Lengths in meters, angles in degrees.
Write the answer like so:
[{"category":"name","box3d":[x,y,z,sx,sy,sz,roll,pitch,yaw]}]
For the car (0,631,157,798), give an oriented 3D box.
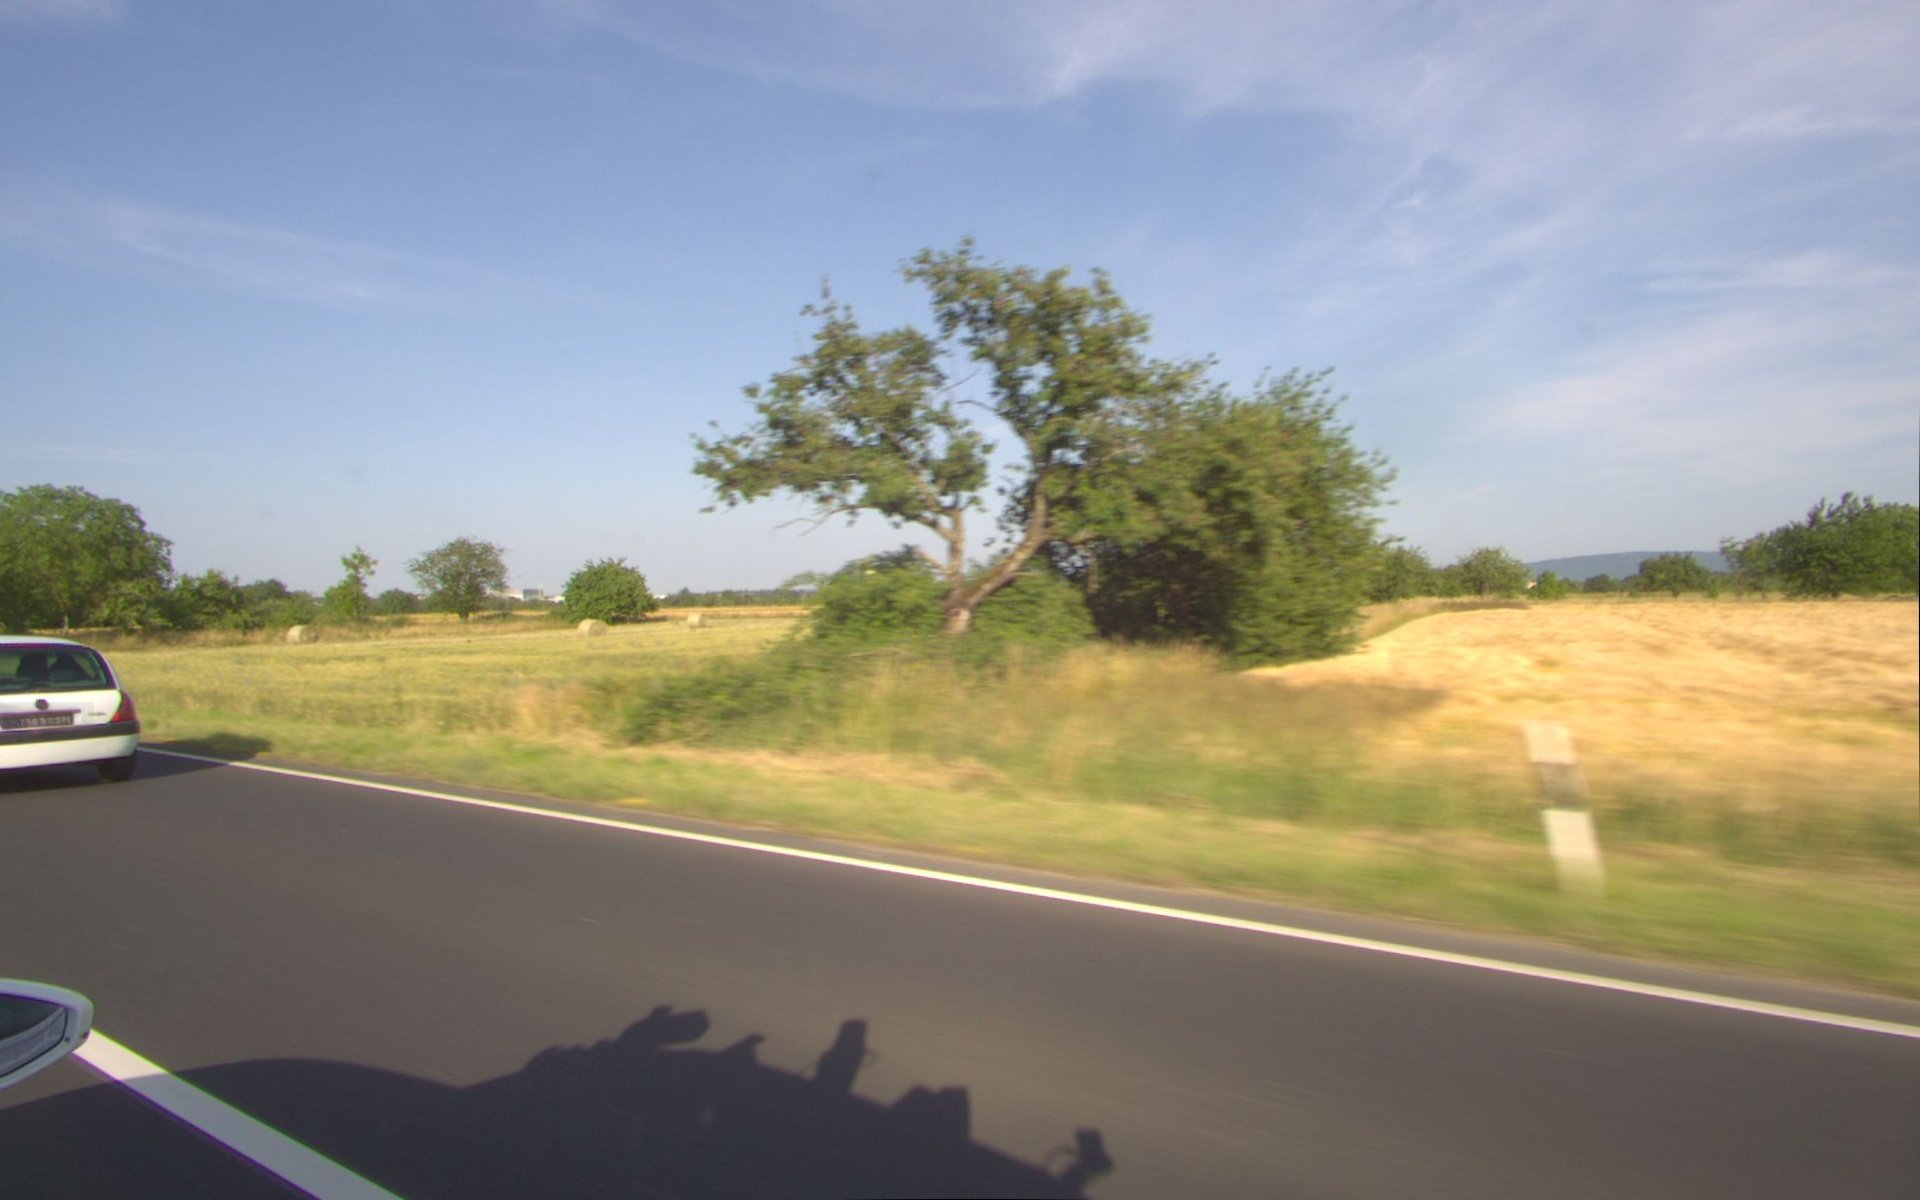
[{"category":"car","box3d":[-9.606,1.026,9.778,3.896,1.405,1.614,-2,-2,33]}]
